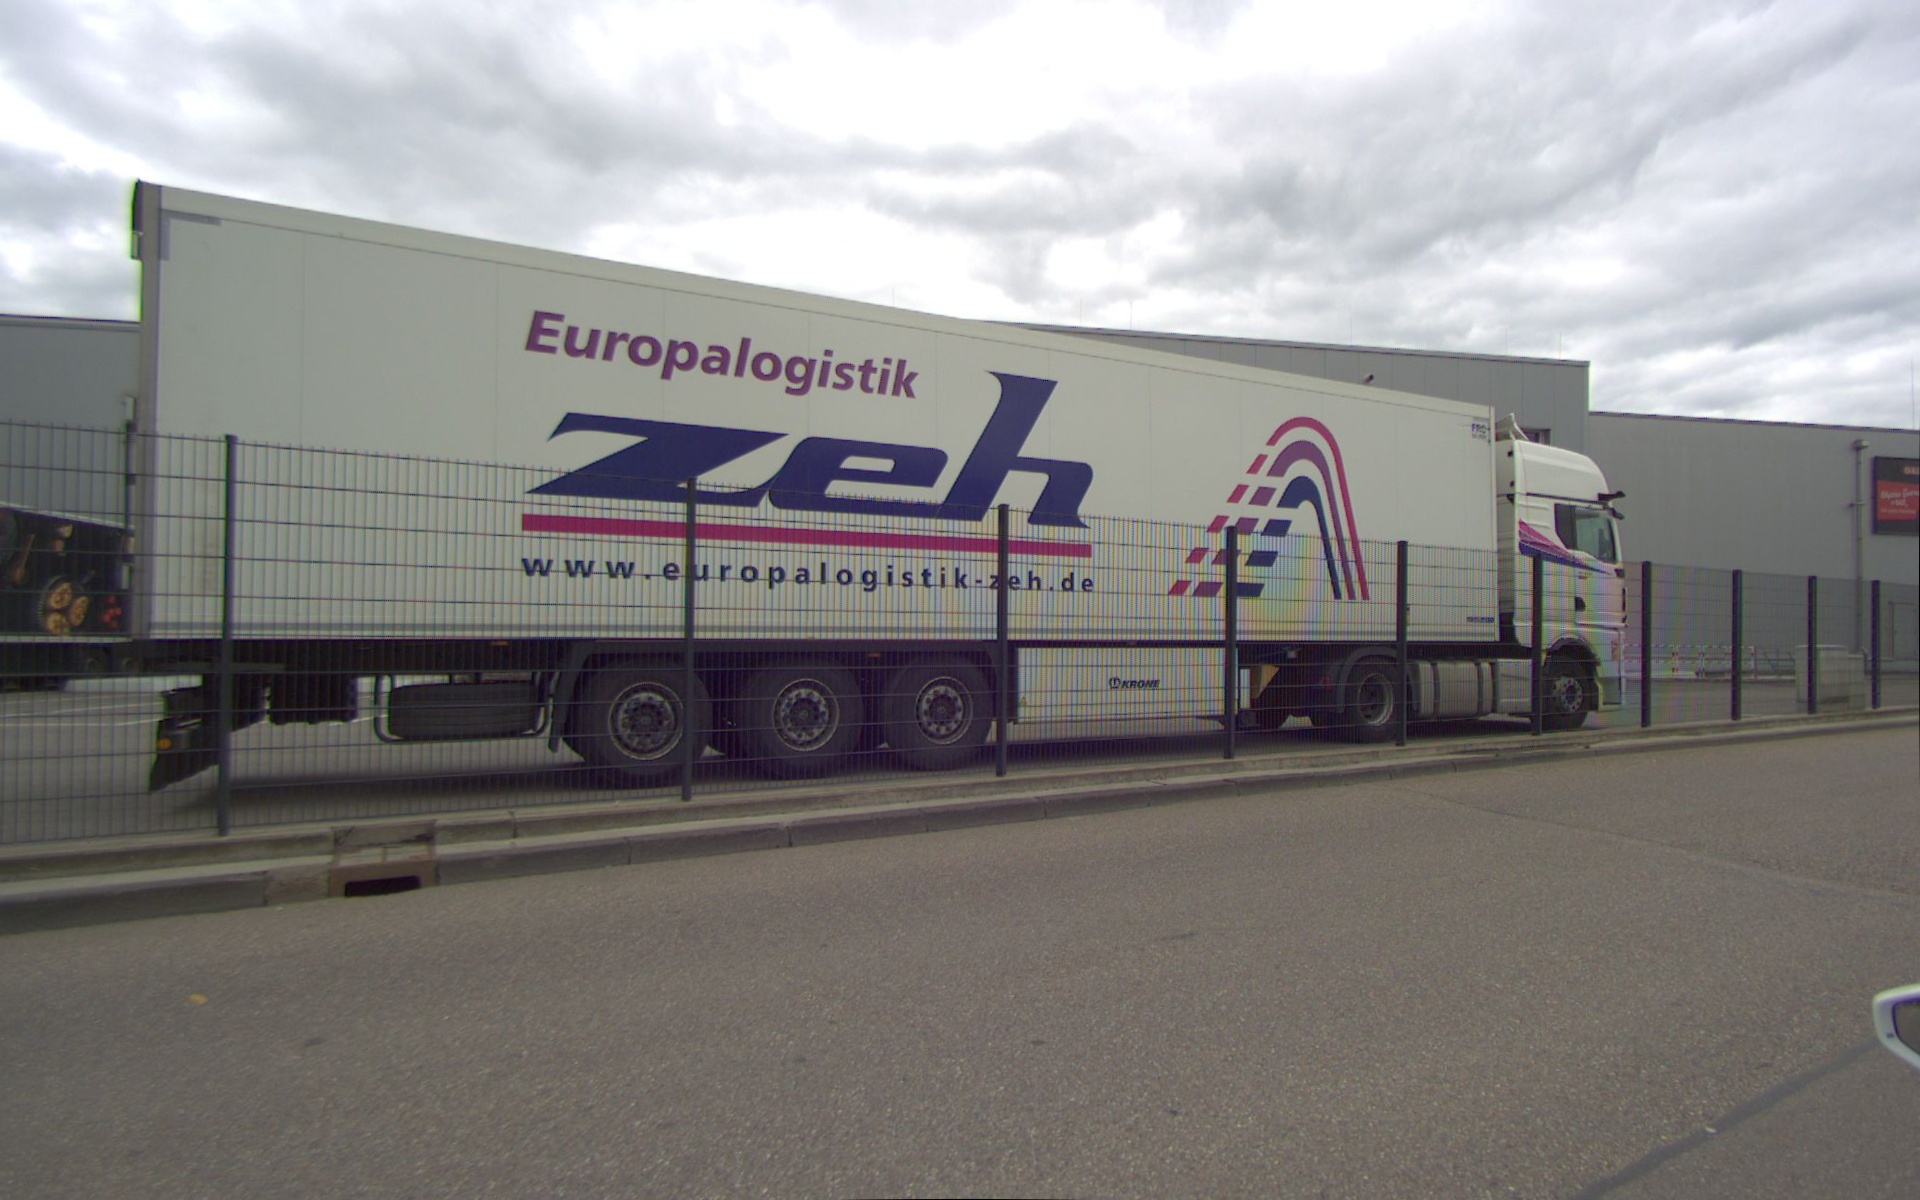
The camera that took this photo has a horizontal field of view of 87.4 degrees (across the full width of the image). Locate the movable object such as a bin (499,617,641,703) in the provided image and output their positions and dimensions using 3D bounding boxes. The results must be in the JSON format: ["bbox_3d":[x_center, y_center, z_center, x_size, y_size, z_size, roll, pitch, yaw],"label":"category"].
[{"bbox_3d":[-8.674,1.293,22.732,2.117,1.759,3.995,1,-2,-8],"label":"movable object such as a bin"}]

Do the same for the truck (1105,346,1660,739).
[{"bbox_3d":[5.716,-0.414,13.566,6.853,4.169,3.118,2,-5,-28],"label":"truck"}]

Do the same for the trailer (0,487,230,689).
[{"bbox_3d":[-21.325,-0.218,22.016,2.733,4.162,13.076,1,-2,-8],"label":"trailer"}]

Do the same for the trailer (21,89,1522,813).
[{"bbox_3d":[0.008,-0.619,10.541,13.843,4.315,3.123,2,-5,-28],"label":"trailer"}]
